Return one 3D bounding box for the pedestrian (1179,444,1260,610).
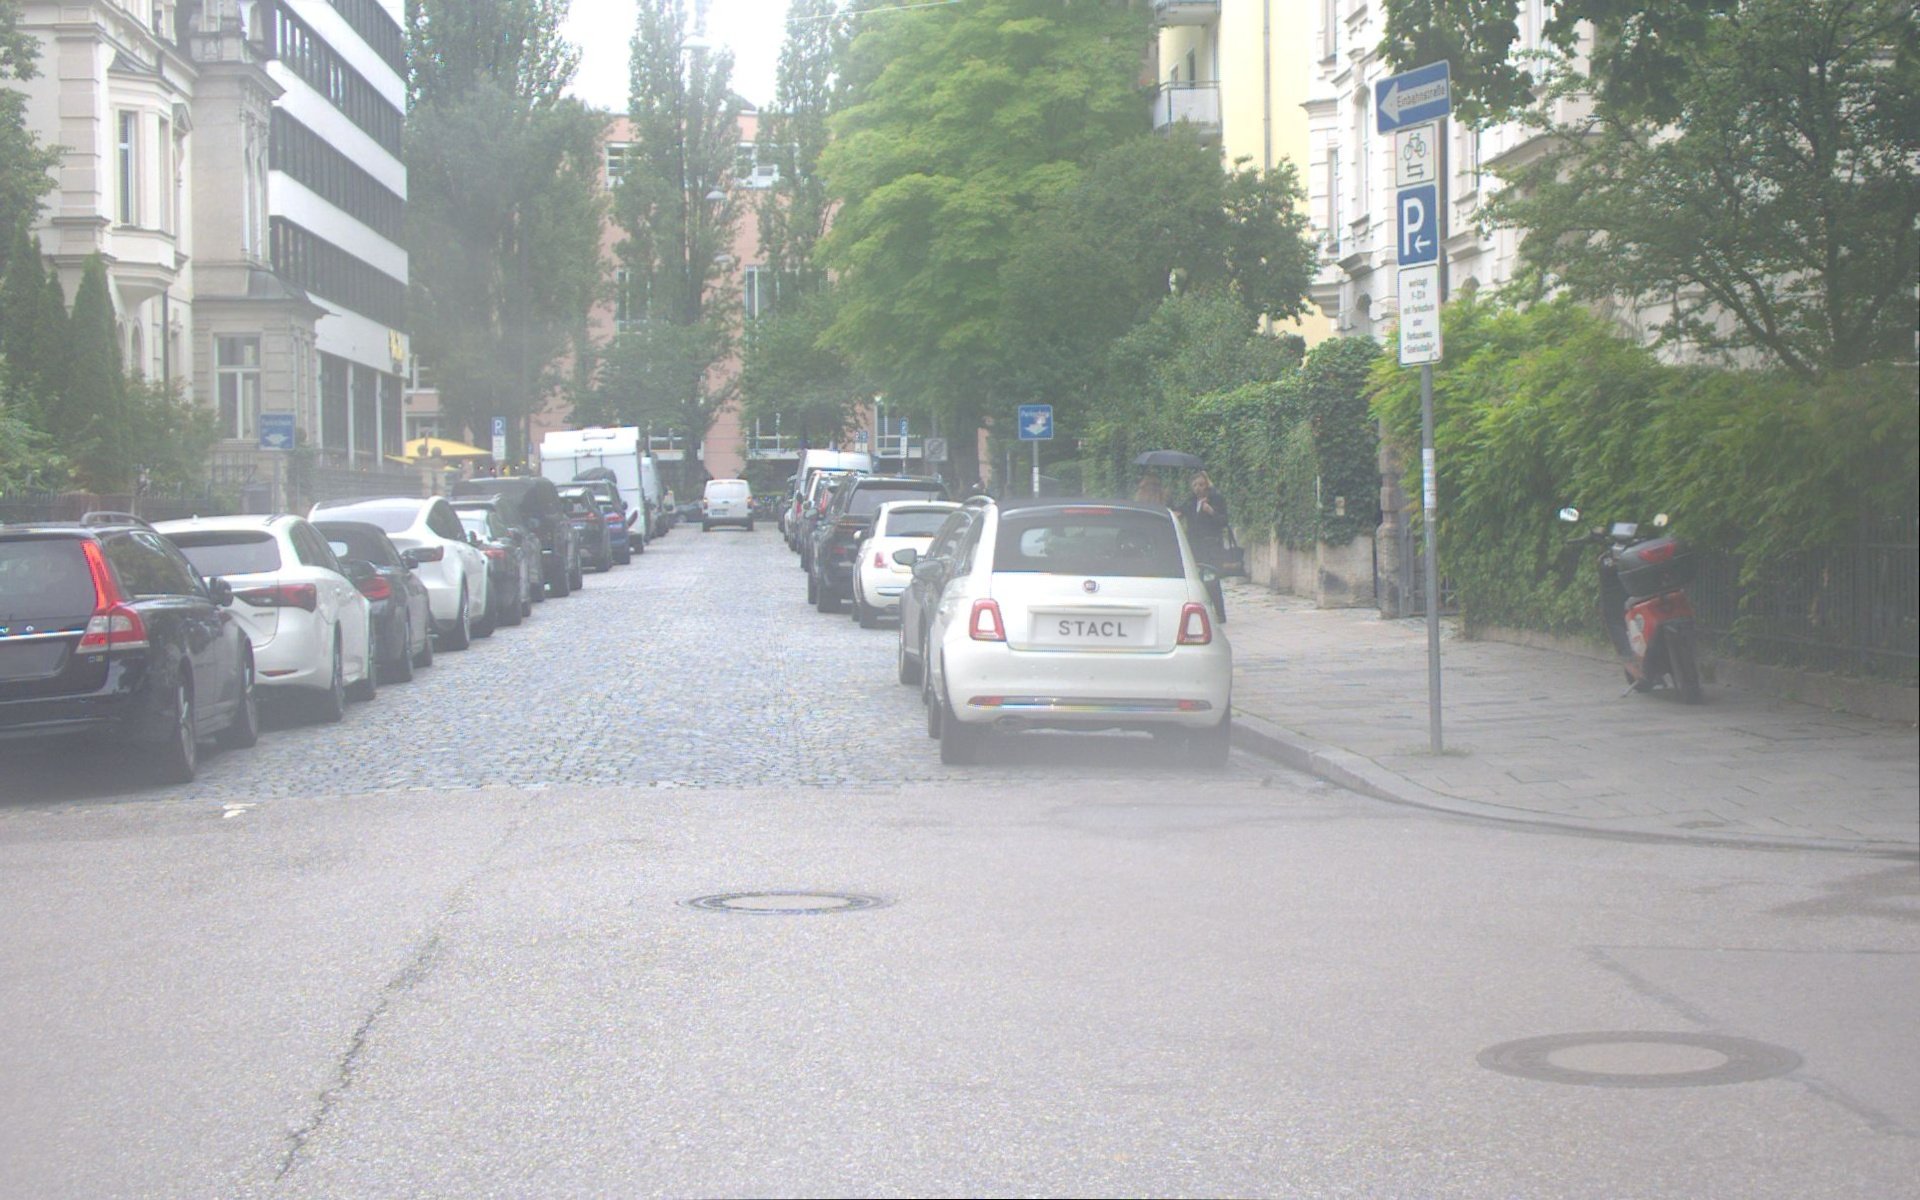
[{"bbox_3d":[2.845,-0.800,37.718,0.628,1.802,0.660,0,1,-26],"label":"pedestrian"}]

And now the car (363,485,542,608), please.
[{"bbox_3d":[-6.212,-0.681,42.461,1.773,1.424,4.392,0,1,-3],"label":"car"}]

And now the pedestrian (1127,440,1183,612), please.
[{"bbox_3d":[2.121,-0.807,37.358,0.576,1.844,0.681,0,1,4],"label":"pedestrian"}]

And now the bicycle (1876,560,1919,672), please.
[{"bbox_3d":[7.341,0.124,25.530,0.491,0.809,2.274,0,1,1],"label":"bicycle"}]

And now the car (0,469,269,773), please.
[{"bbox_3d":[-5.276,0.050,20.255,1.852,1.580,4.749,0,1,-5],"label":"car"}]

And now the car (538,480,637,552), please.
[{"bbox_3d":[-7.812,-1.773,72.346,1.939,1.454,4.059,0,1,-4],"label":"car"}]

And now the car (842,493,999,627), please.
[{"bbox_3d":[-0.509,-0.505,40.944,1.630,1.464,3.660,2,1,-4],"label":"car"}]

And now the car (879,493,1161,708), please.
[{"bbox_3d":[0.369,-0.054,26.424,1.648,1.417,4.633,3,1,-5],"label":"car"}]

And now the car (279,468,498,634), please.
[{"bbox_3d":[-5.987,-0.542,36.427,1.773,1.642,4.392,0,1,-3],"label":"car"}]

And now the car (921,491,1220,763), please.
[{"bbox_3d":[0.579,0.098,20.443,1.501,1.466,3.796,0,1,-2],"label":"car"}]

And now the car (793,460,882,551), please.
[{"bbox_3d":[-2.873,-2.183,79.604,1.800,1.943,4.861,3,1,-4],"label":"car"}]

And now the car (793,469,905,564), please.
[{"bbox_3d":[-2.186,-1.625,66.603,1.963,1.753,4.955,0,1,-4],"label":"car"}]

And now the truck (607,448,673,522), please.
[{"bbox_3d":[-10.438,-3.745,112.371,1.993,2.338,4.069,0,1,-4],"label":"truck"}]

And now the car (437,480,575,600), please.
[{"bbox_3d":[-6.391,-0.858,48.699,1.579,1.584,4.057,-2,1,-3],"label":"car"}]

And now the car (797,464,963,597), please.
[{"bbox_3d":[-1.136,-0.941,45.979,1.874,1.667,5.492,0,1,-5],"label":"car"}]

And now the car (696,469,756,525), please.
[{"bbox_3d":[-8.276,-3.649,121.985,1.996,1.929,4.001,0,1,-2],"label":"car"}]

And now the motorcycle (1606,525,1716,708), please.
[{"bbox_3d":[4.315,0.083,21.221,0.362,1.086,1.404,0,1,-1],"label":"motorcycle"}]

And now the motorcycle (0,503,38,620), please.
[{"bbox_3d":[-10.103,-0.420,36.151,0.491,1.190,1.580,1,2,-4],"label":"motorcycle"}]

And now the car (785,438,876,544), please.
[{"bbox_3d":[-3.242,-2.713,85.066,1.894,2.418,5.612,4,2,-4],"label":"car"}]

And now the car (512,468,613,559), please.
[{"bbox_3d":[-7.716,-1.684,66.975,1.773,1.712,4.392,0,1,-4],"label":"car"}]

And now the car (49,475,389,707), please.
[{"bbox_3d":[-5.305,-0.116,25.137,1.773,1.531,4.541,0,1,-4],"label":"car"}]

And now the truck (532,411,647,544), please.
[{"bbox_3d":[-8.954,-2.996,83.516,2.508,3.021,6.386,-2,2,-5],"label":"truck"}]

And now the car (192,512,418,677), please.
[{"bbox_3d":[-5.742,-0.099,30.528,1.773,1.355,4.392,0,1,-8],"label":"car"}]
